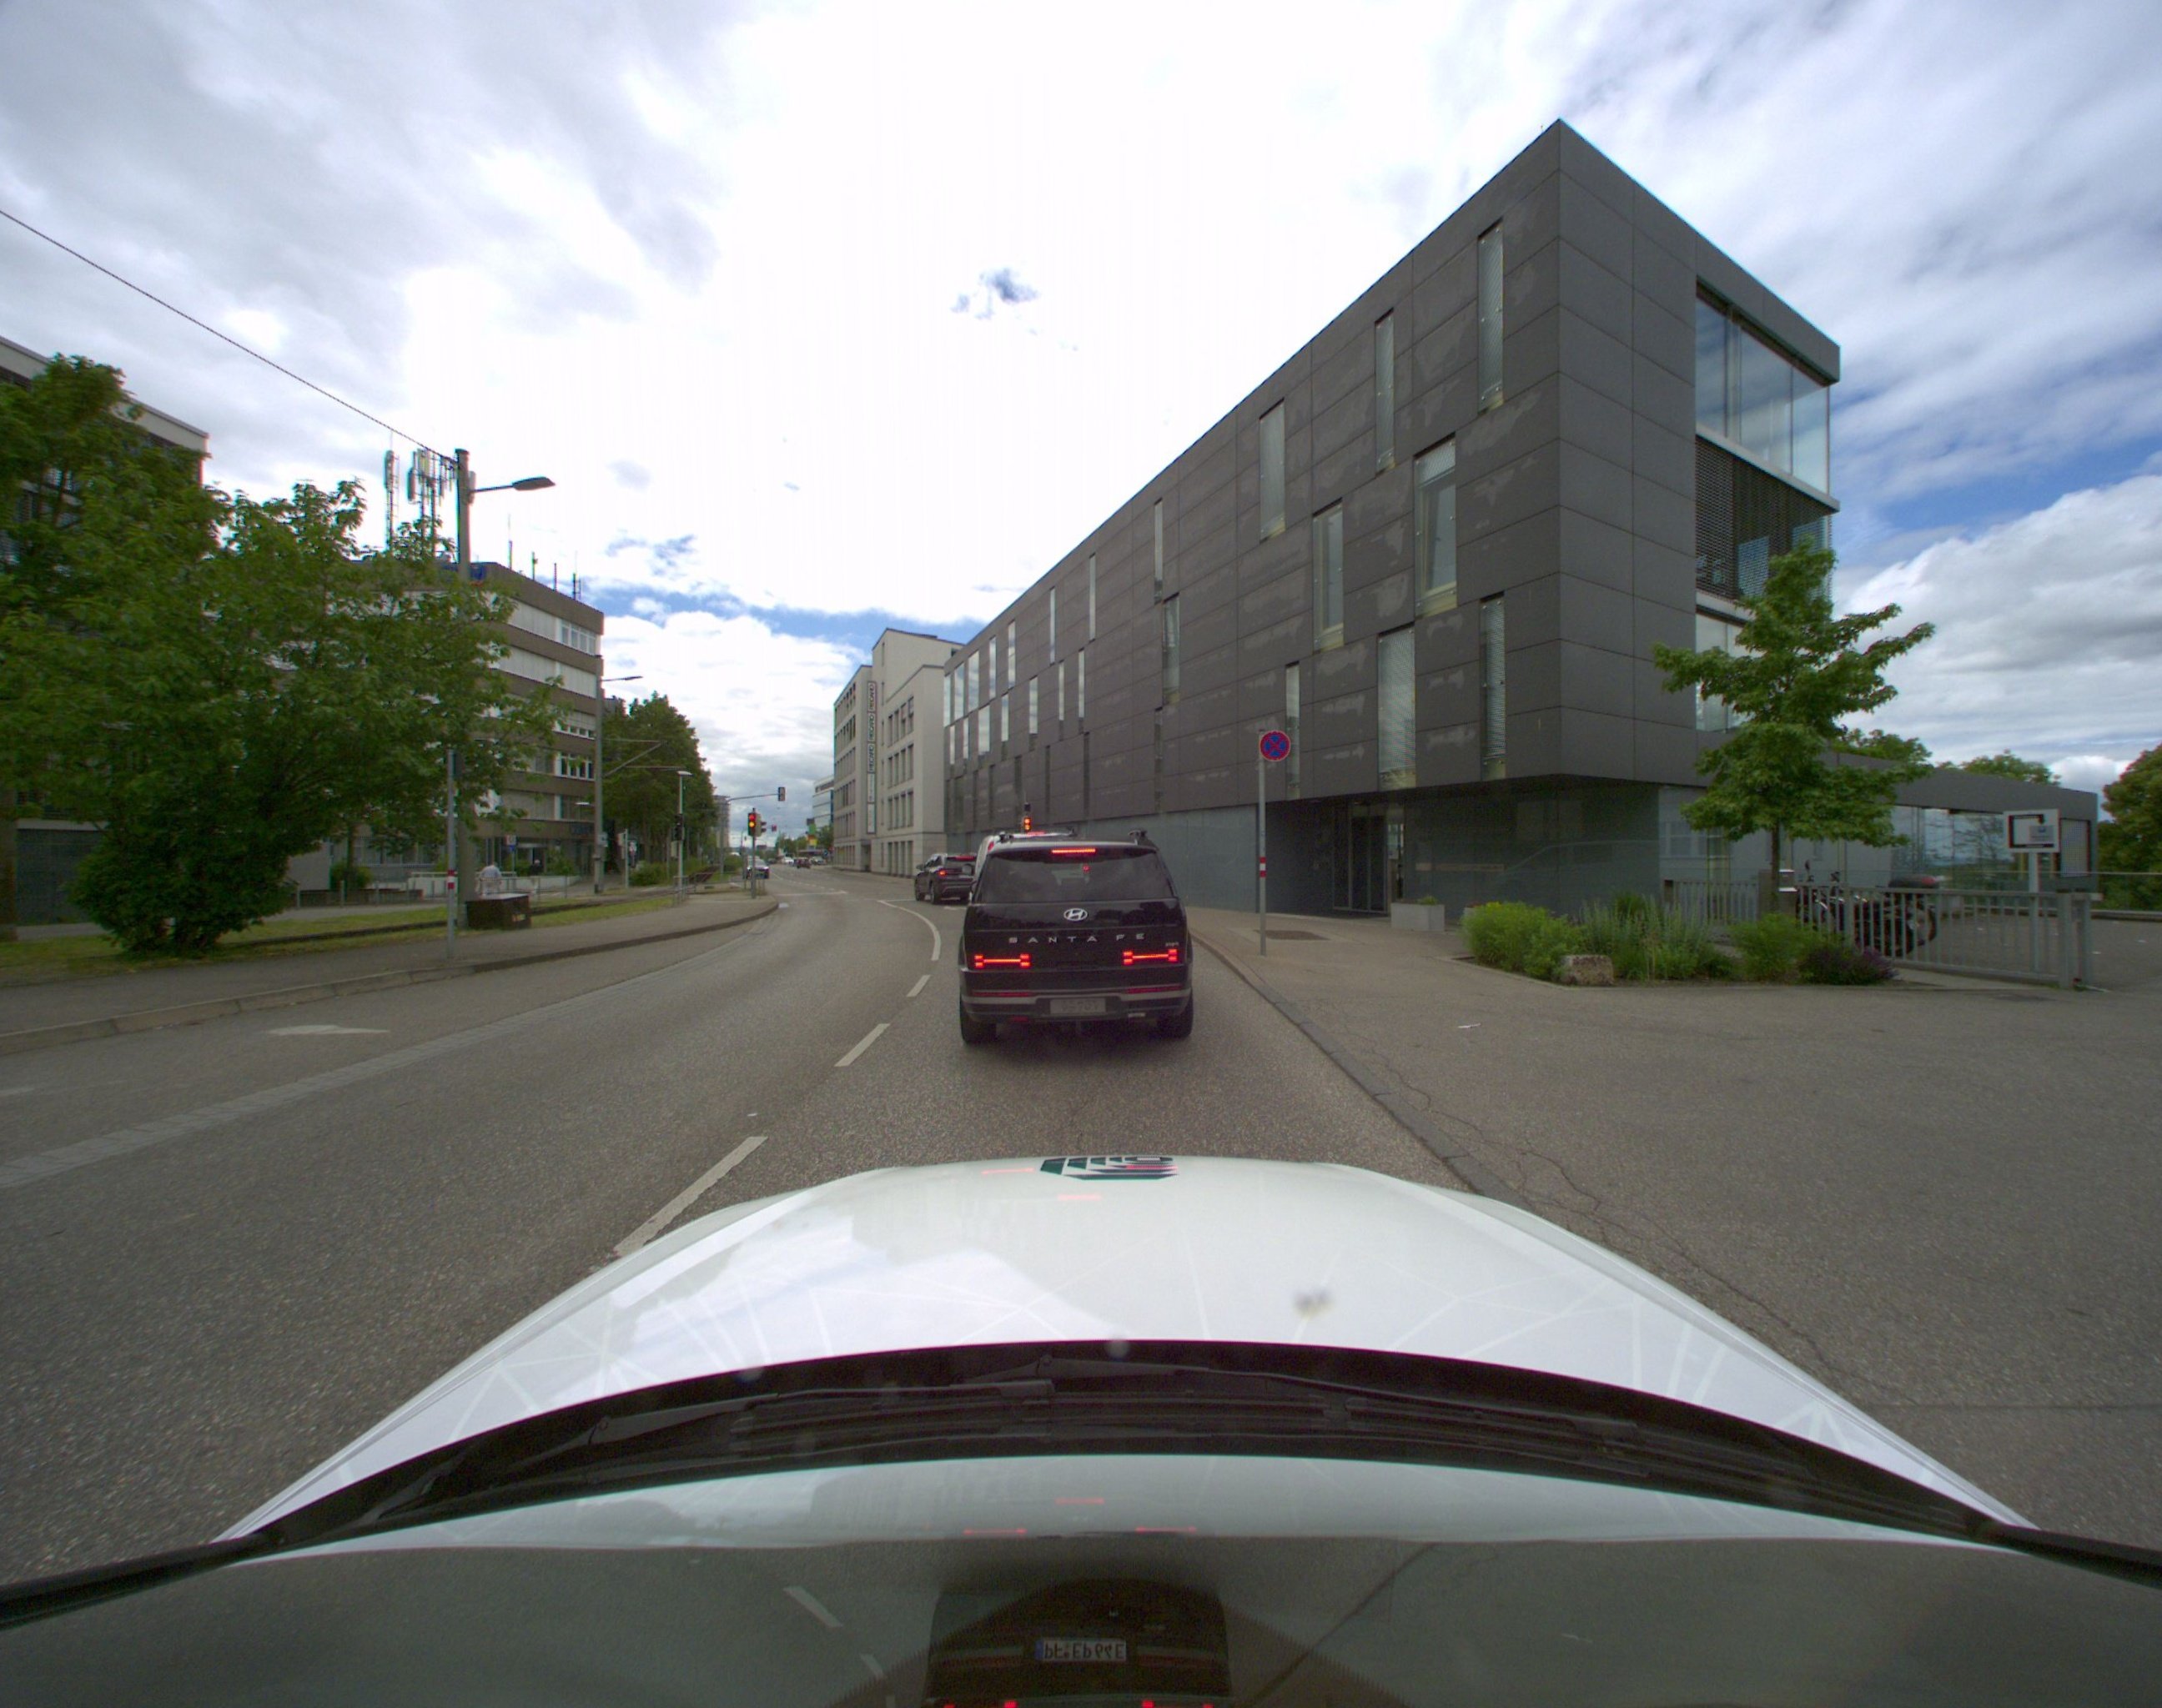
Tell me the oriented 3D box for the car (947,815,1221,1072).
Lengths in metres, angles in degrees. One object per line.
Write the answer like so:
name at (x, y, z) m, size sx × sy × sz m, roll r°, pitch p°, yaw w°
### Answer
car at (-0.125, 0.621, 7.922) m, size 1.905 × 1.749 × 4.390 m, roll -1°, pitch 0°, yaw -4°

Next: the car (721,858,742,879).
car at (-33.559, 1.381, 78.160) m, size 1.689 × 1.808 × 4.316 m, roll -2°, pitch 0°, yaw -25°

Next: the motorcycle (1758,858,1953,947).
motorcycle at (13.321, 0.772, 14.140) m, size 0.669 × 1.393 × 2.449 m, roll 0°, pitch 0°, yaw -17°

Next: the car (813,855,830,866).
car at (-48.180, 1.185, 151.218) m, size 2.009 × 1.852 × 3.956 m, roll 0°, pitch 0°, yaw -35°

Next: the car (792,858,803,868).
car at (-47.938, 1.485, 137.558) m, size 1.765 × 1.609 × 4.159 m, roll 0°, pitch 0°, yaw -20°

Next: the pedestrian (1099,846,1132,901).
pedestrian at (1.073, 0.592, 25.604) m, size 0.715 × 1.694 × 0.858 m, roll 1°, pitch -1°, yaw -25°

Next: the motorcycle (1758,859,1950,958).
motorcycle at (11.936, 0.779, 12.692) m, size 0.669 × 1.393 × 2.112 m, roll 0°, pitch 0°, yaw -17°

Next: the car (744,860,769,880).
car at (-25.639, 1.232, 64.308) m, size 1.775 × 1.479 × 3.970 m, roll -2°, pitch 0°, yaw -22°

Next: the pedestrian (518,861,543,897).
pedestrian at (-26.512, 1.187, 39.242) m, size 0.685 × 1.705 × 0.683 m, roll -2°, pitch 0°, yaw 2°

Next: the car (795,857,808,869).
car at (-41.505, 1.313, 120.832) m, size 1.765 × 1.609 × 4.159 m, roll 0°, pitch 0°, yaw -20°

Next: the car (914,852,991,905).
car at (-4.351, 0.748, 27.120) m, size 1.765 × 1.609 × 4.159 m, roll 0°, pitch 0°, yaw -20°

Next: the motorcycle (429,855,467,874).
motorcycle at (-41.560, 0.682, 53.490) m, size 1.878 × 1.199 × 0.566 m, roll -1°, pitch 0°, yaw -9°

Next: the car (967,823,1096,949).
car at (-1.094, 0.505, 15.296) m, size 1.932 × 1.994 × 4.519 m, roll 0°, pitch 0°, yaw -10°

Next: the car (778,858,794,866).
car at (-57.325, 1.495, 158.223) m, size 2.009 × 1.578 × 3.956 m, roll 0°, pitch 0°, yaw -36°

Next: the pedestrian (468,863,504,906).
pedestrian at (-21.866, 1.115, 29.960) m, size 0.852 × 1.526 × 0.987 m, roll -2°, pitch 0°, yaw -25°
